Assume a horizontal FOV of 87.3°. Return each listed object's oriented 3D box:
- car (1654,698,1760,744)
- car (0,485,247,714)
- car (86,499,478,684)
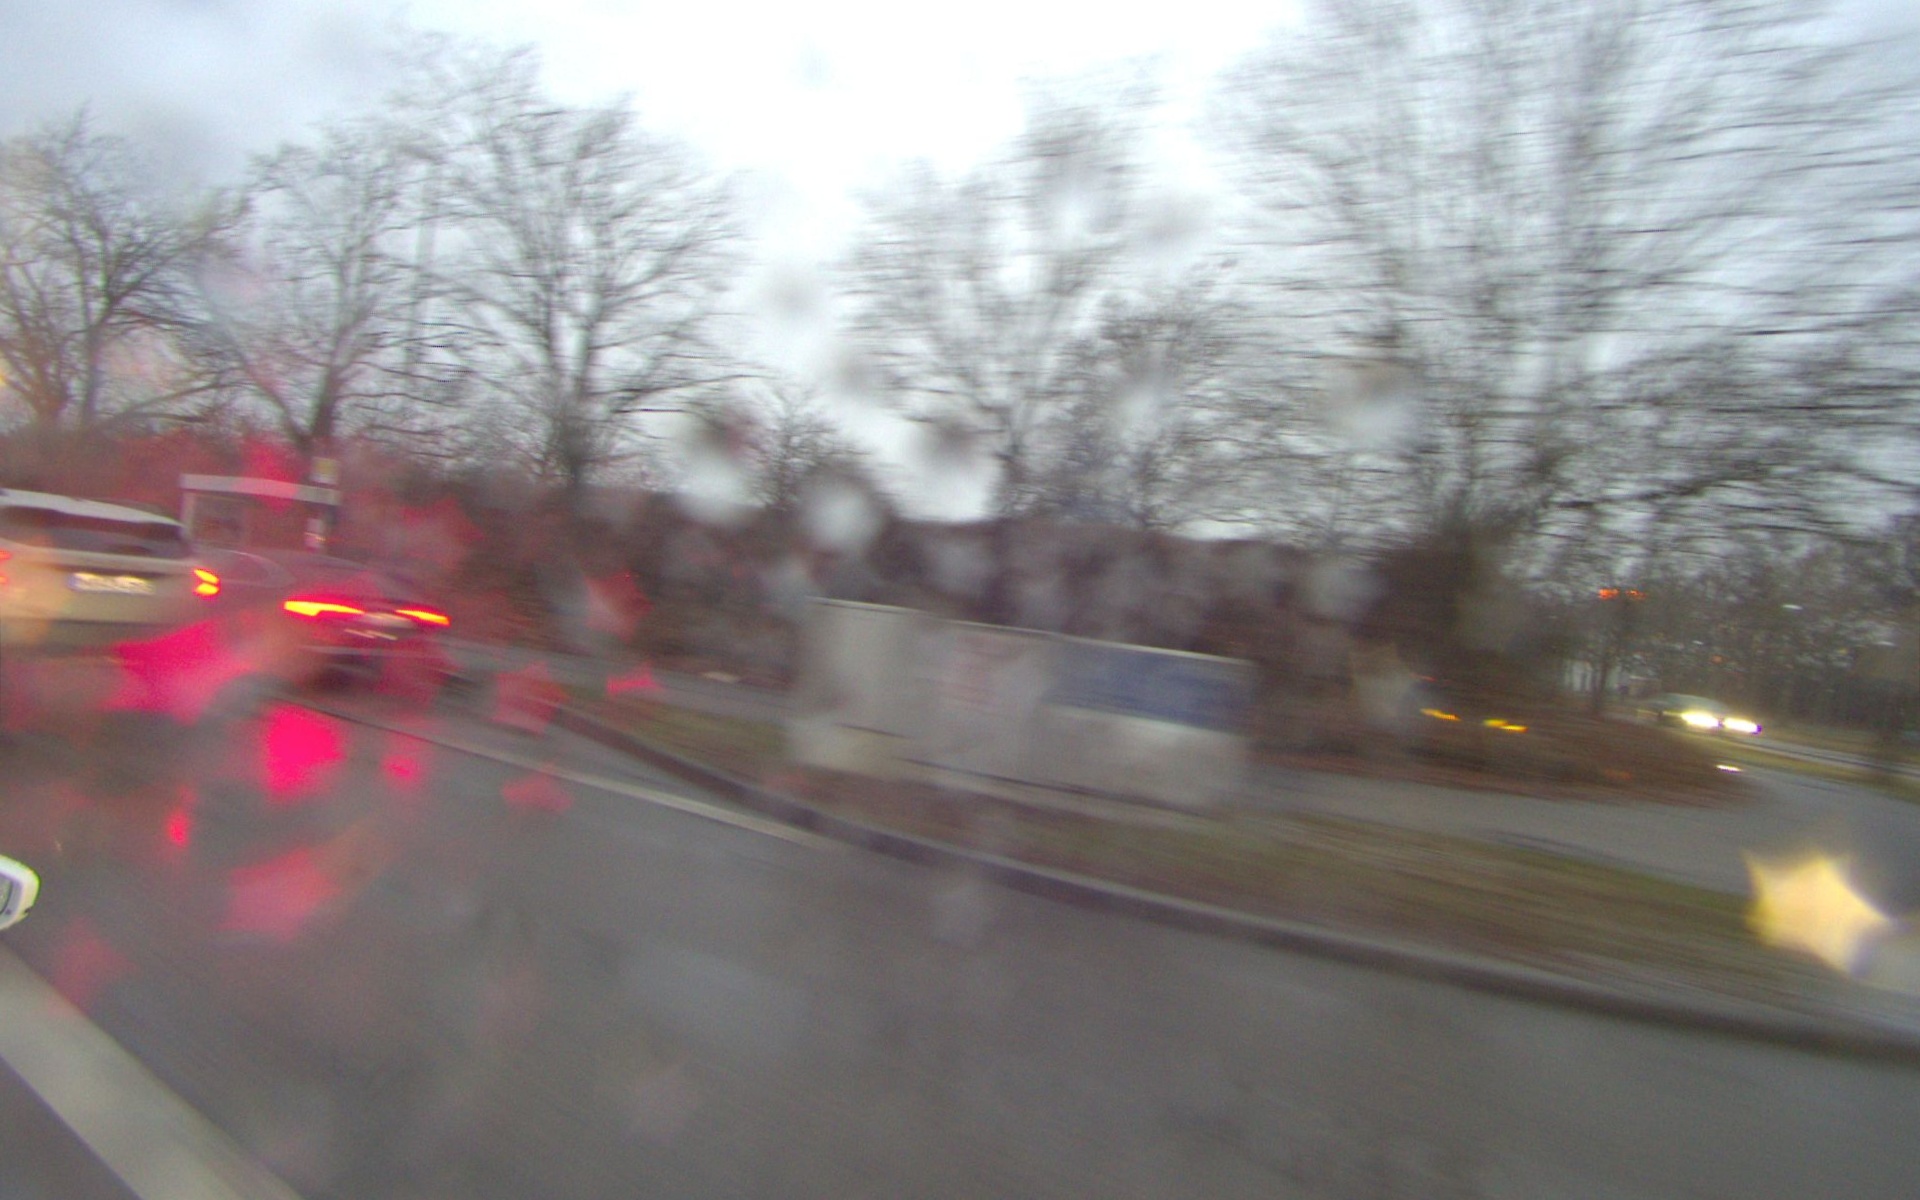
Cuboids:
[{"bbox_3d":[29.121,4.671,39.377,1.962,1.258,4.002,7,-1,17],"label":"car"},{"bbox_3d":[-8.451,-0.151,8.811,4.335,1.638,1.819,6,-1,29],"label":"car"},{"bbox_3d":[-8.098,-0.135,11.943,4.470,1.640,1.969,6,1,29],"label":"car"}]
